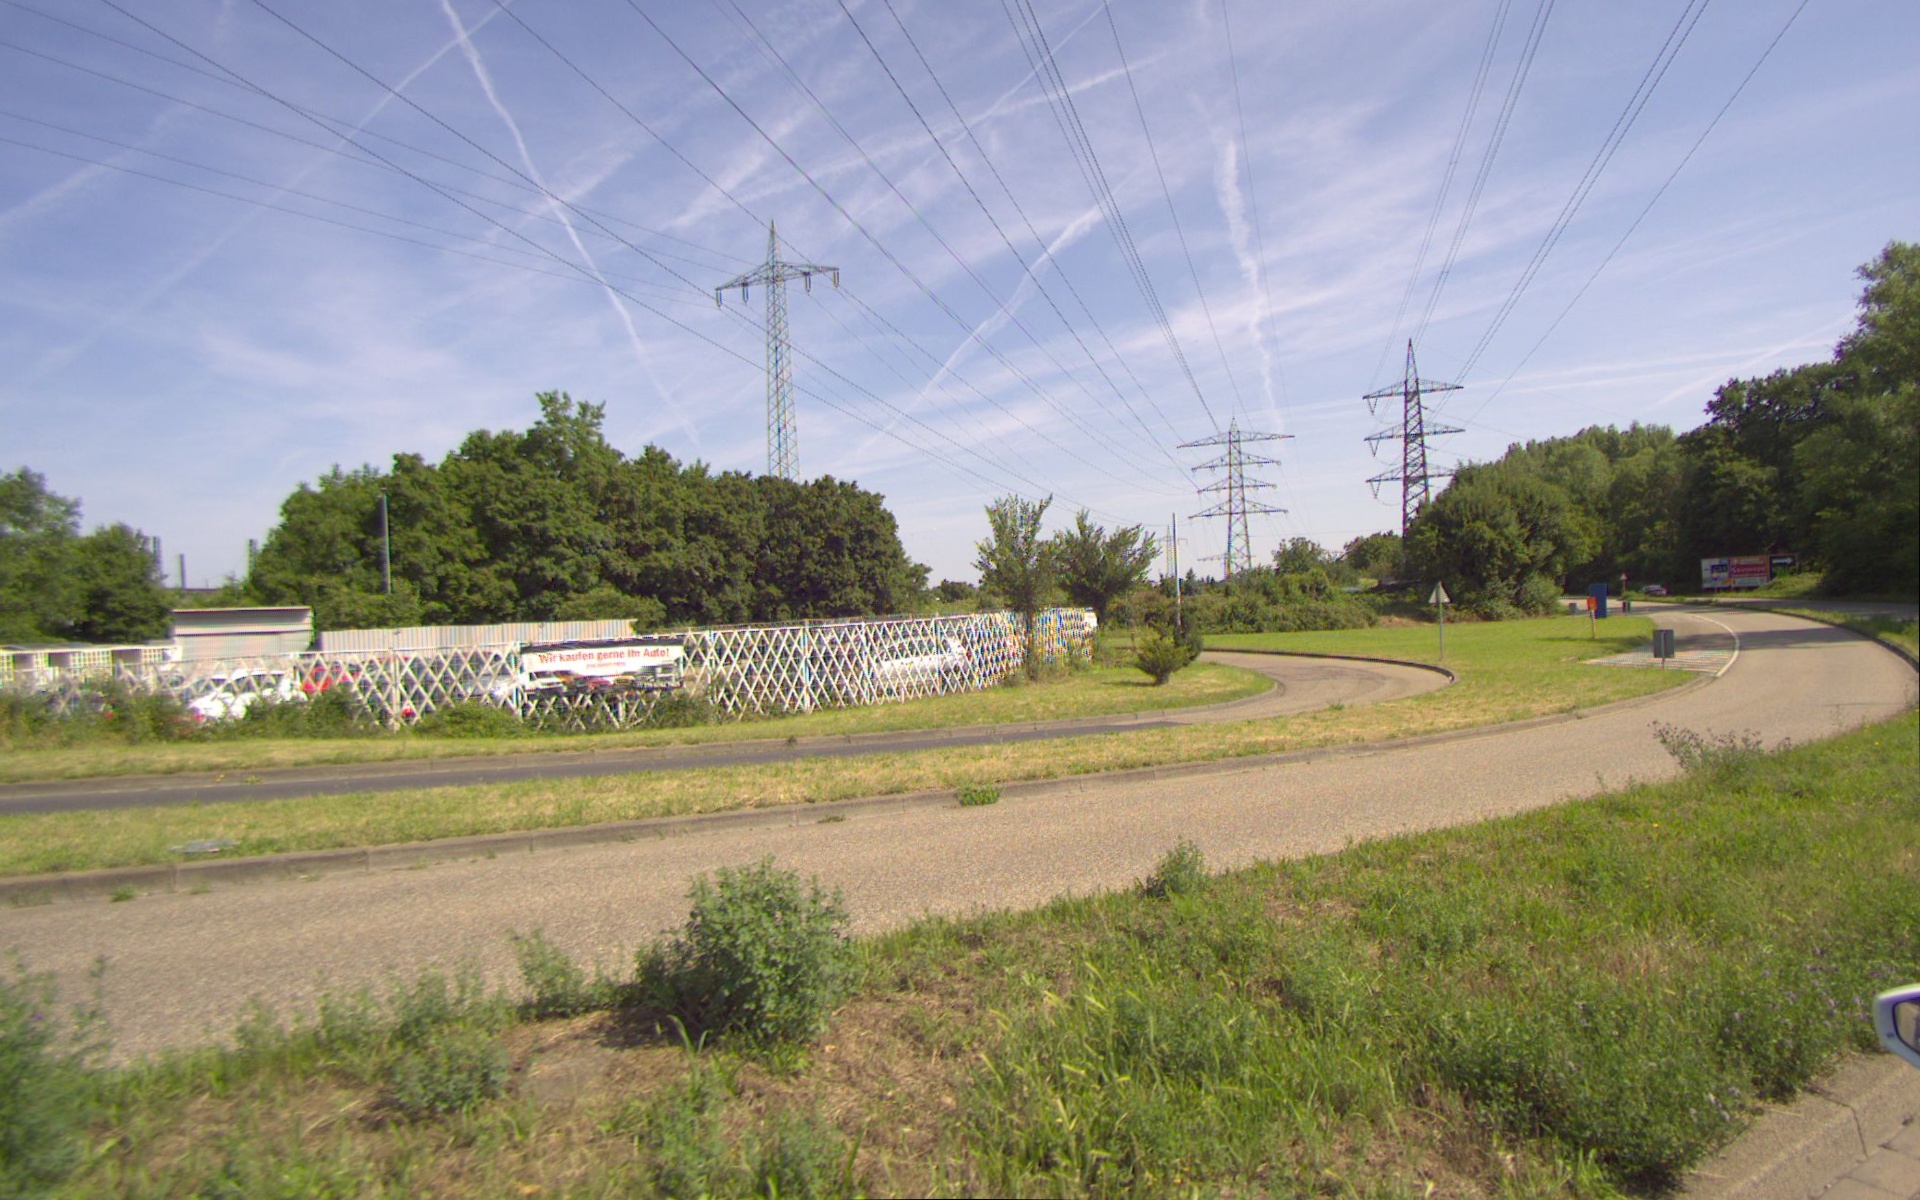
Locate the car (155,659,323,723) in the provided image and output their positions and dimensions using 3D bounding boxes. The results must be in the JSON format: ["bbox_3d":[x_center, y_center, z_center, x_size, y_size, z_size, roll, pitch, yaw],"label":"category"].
[{"bbox_3d":[-18.485,2.312,25.912,1.567,1.310,3.181,-3,0,16],"label":"car"}]

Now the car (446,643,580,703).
[{"bbox_3d":[-11.956,1.922,27.063,1.567,1.310,3.181,-3,0,16],"label":"car"}]

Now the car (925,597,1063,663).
[{"bbox_3d":[1.191,1.050,36.004,4.648,2.068,1.694,-3,0,-8],"label":"car"}]

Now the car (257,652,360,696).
[{"bbox_3d":[-23.603,2.655,36.537,1.567,1.310,3.181,-3,0,1],"label":"car"}]

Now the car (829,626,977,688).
[{"bbox_3d":[-1.540,1.473,26.760,3.694,1.373,1.481,-3,0,-14],"label":"car"}]

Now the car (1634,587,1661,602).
[{"bbox_3d":[76.750,-0.594,112.154,1.620,1.587,3.656,-3,0,21],"label":"car"}]
